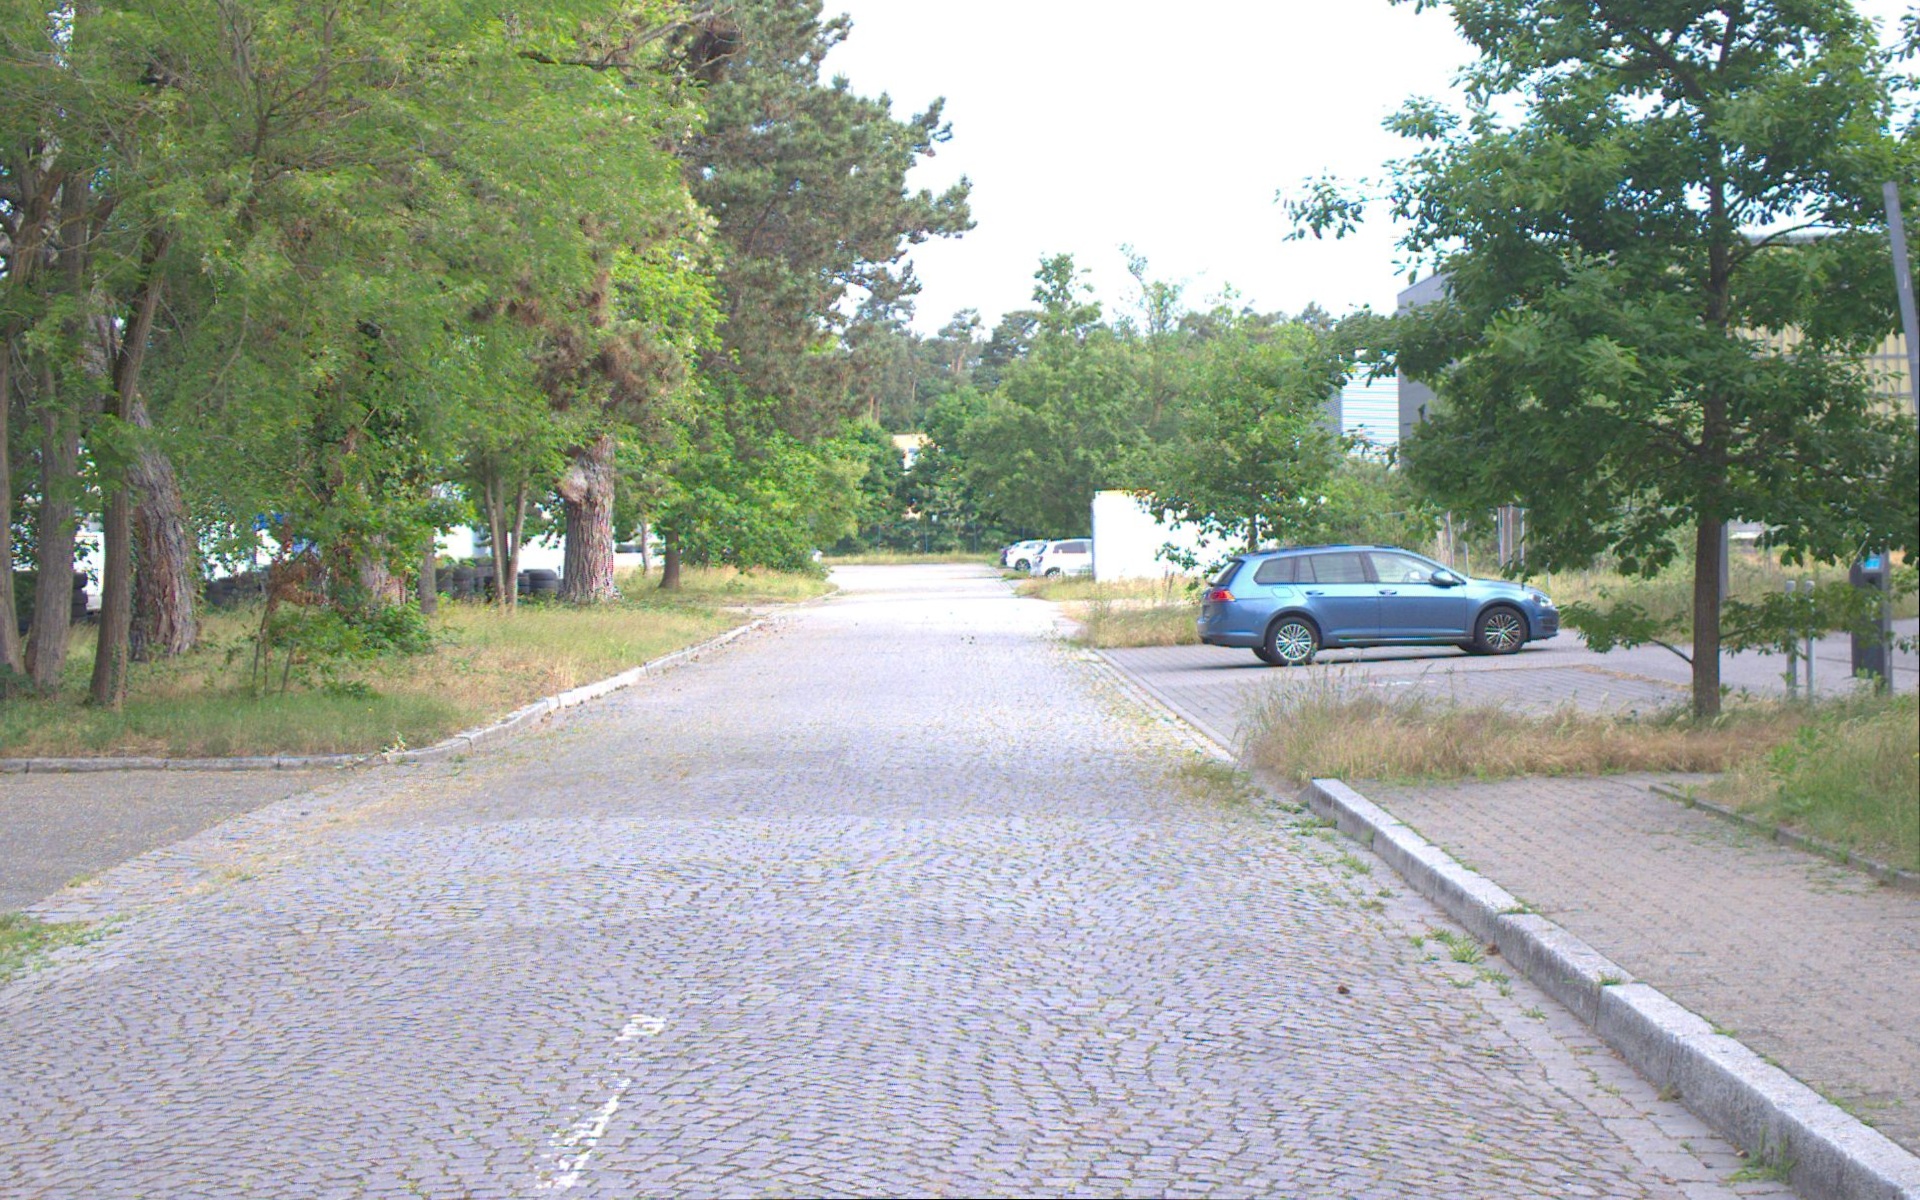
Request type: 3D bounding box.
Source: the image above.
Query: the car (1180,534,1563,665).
[{"bbox_3d":[5.190,-0.025,43.667,4.521,1.438,1.824,-3,1,-3],"label":"car"}]

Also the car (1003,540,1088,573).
[{"bbox_3d":[4.057,-2.067,163.360,4.025,1.496,1.548,-1,1,1],"label":"car"}]

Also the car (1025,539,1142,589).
[{"bbox_3d":[4.193,-1.219,117.213,3.849,1.649,1.686,-1,1,-3],"label":"car"}]

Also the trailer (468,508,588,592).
[{"bbox_3d":[-16.250,-1.907,129.887,3.159,3.057,8.784,-1,1,2],"label":"trailer"}]
